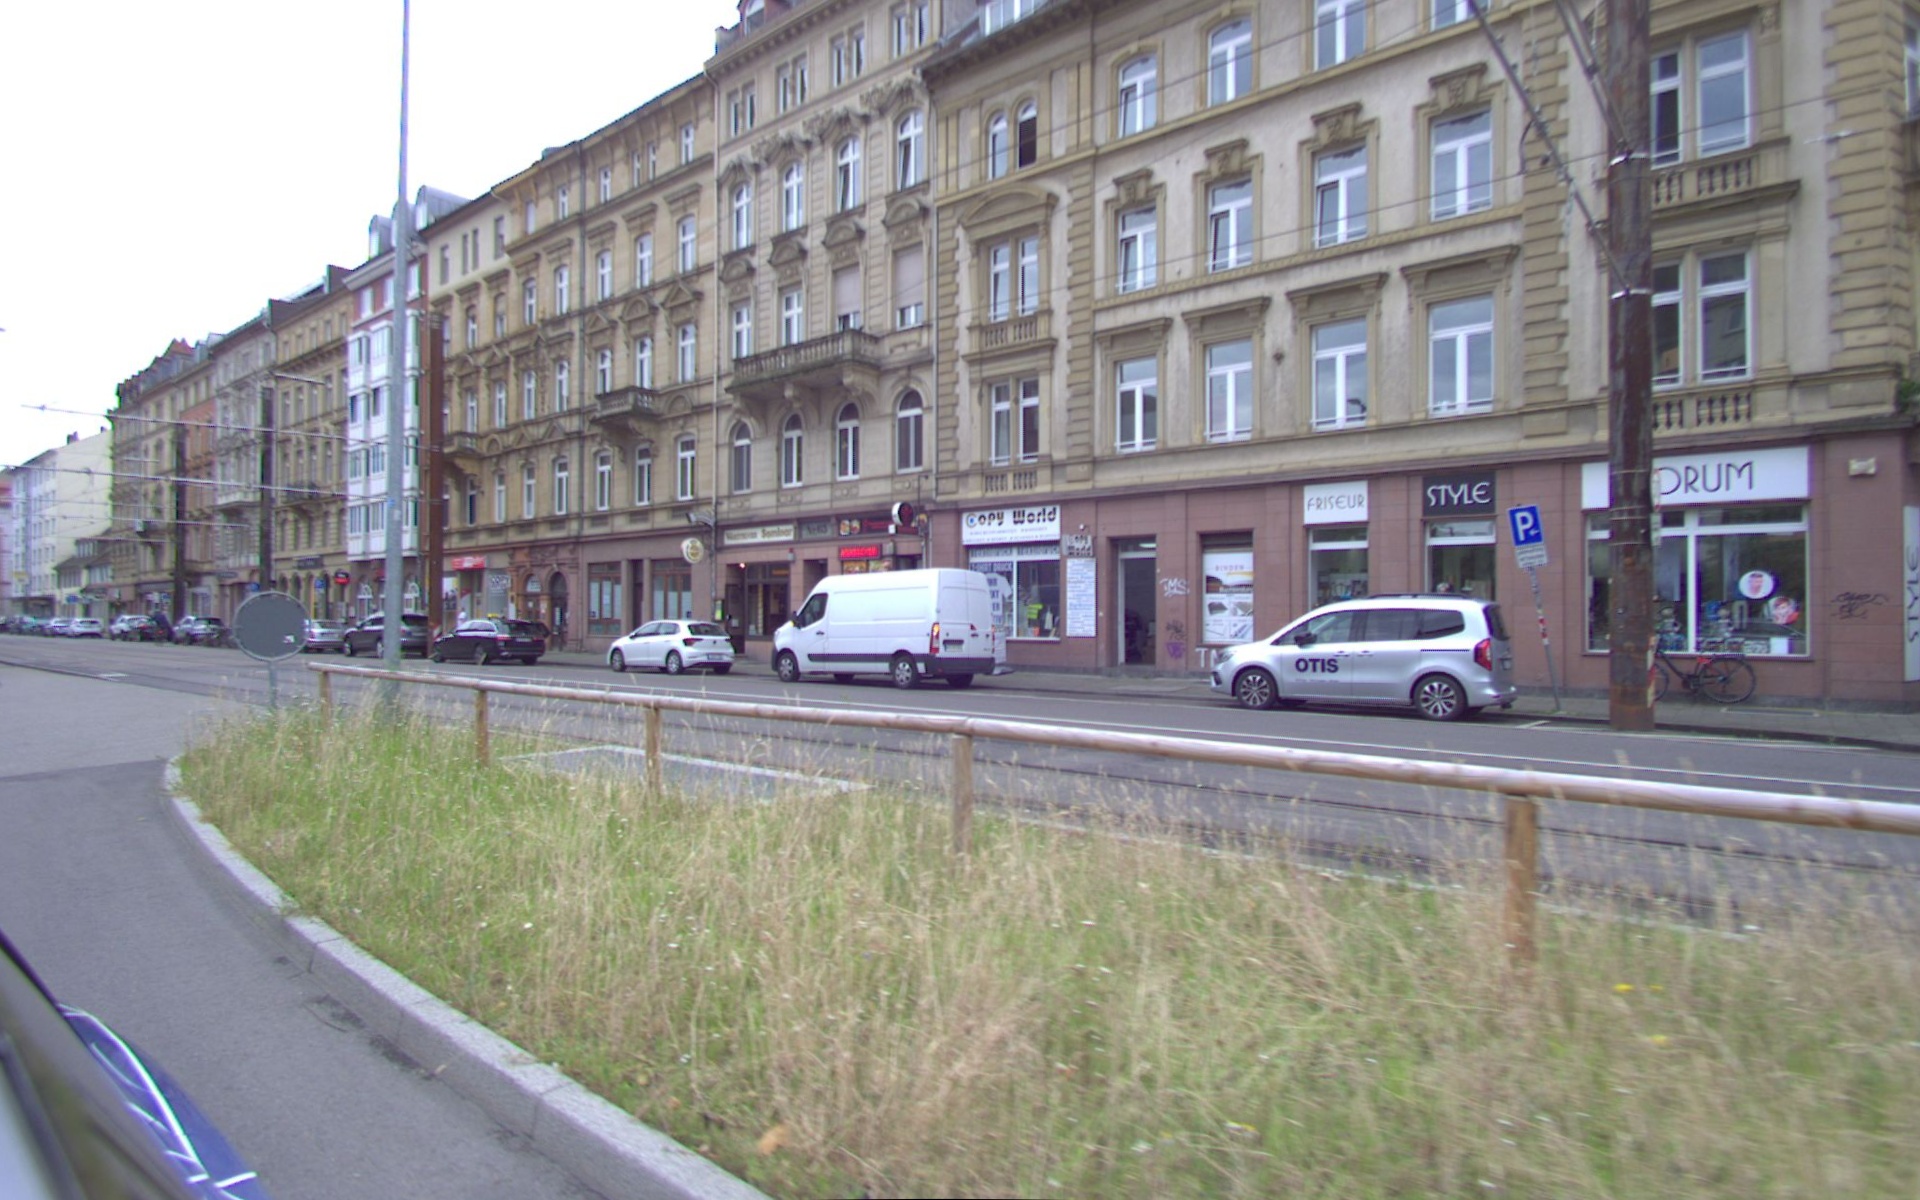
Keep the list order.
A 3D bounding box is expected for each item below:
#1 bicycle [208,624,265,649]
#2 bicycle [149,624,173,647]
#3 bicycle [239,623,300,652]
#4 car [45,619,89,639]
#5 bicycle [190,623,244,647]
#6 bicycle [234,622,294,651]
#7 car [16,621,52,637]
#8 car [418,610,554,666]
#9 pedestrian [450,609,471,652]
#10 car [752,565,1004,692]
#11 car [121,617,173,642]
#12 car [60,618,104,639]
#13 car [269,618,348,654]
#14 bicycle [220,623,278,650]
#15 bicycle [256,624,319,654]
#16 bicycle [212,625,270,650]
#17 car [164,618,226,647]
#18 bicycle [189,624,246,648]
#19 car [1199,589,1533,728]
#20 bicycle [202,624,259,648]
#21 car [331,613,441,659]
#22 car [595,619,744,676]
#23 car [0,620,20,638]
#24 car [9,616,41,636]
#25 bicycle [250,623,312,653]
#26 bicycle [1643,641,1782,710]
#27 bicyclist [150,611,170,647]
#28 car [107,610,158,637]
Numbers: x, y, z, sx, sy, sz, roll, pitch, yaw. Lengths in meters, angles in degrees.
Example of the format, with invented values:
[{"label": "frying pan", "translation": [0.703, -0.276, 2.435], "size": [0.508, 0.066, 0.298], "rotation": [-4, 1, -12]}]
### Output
[{"label": "bicycle", "translation": [-36.925, 1.879, 51.663], "size": [0.666, 1.212, 2.259], "rotation": [-1, -3, 39]}, {"label": "bicycle", "translation": [-42.107, 1.882, 53.306], "size": [2.044, 1.183, 0.579], "rotation": [-1, -3, 41]}, {"label": "bicycle", "translation": [-32.704, 1.776, 47.956], "size": [0.666, 1.339, 2.259], "rotation": [-1, -3, 39]}, {"label": "car", "translation": [-68.490, 2.247, 77.621], "size": [4.541, 1.533, 1.806], "rotation": [-2, -3, 40]}, {"label": "bicycle", "translation": [-39.133, 1.820, 53.318], "size": [0.547, 1.212, 2.259], "rotation": [-1, -1, 39]}, {"label": "bicycle", "translation": [-33.335, 1.769, 48.492], "size": [0.666, 1.339, 2.259], "rotation": [-1, -3, 39]}, {"label": "car", "translation": [-79.724, 2.506, 87.165], "size": [3.429, 1.391, 1.632], "rotation": [-2, -3, 36]}, {"label": "car", "translation": [-15.613, 1.225, 33.222], "size": [5.045, 1.702, 1.901], "rotation": [-1, -4, 38]}, {"label": "pedestrian", "translation": [-21.137, 1.290, 42.855], "size": [0.644, 1.795, 0.787], "rotation": [-1, 0, -14]}, {"label": "car", "translation": [-1.923, 0.638, 22.401], "size": [5.658, 2.506, 2.033], "rotation": [-1, -4, 38]}, {"label": "car", "translation": [-50.094, 1.816, 62.326], "size": [3.917, 1.500, 1.726], "rotation": [-1, -3, 40]}, {"label": "car", "translation": [-64.774, 2.103, 74.626], "size": [4.041, 1.476, 1.726], "rotation": [-1, -3, 39]}, {"label": "car", "translation": [-28.454, 1.552, 44.191], "size": [3.915, 1.500, 1.727], "rotation": [-1, -3, 39]}, {"label": "bicycle", "translation": [-35.404, 1.830, 50.419], "size": [0.666, 1.339, 2.259], "rotation": [-1, -3, 39]}, {"label": "bicycle", "translation": [-30.701, 1.782, 46.252], "size": [0.666, 1.339, 2.259], "rotation": [-1, -3, 39]}, {"label": "bicycle", "translation": [-36.373, 1.891, 51.210], "size": [0.666, 1.212, 2.259], "rotation": [-1, -3, 39]}, {"label": "car", "translation": [-42.236, 1.769, 55.850], "size": [4.220, 1.545, 1.726], "rotation": [-1, -3, 39]}, {"label": "bicycle", "translation": [-38.692, 1.875, 52.774], "size": [0.704, 1.212, 2.259], "rotation": [-1, -3, 39]}, {"label": "car", "translation": [6.232, 0.846, 15.793], "size": [4.514, 1.879, 1.884], "rotation": [-1, -3, 38]}, {"label": "bicycle", "translation": [-37.550, 1.861, 52.123], "size": [0.704, 1.212, 2.259], "rotation": [-1, -3, 39]}, {"label": "car", "translation": [-22.200, 1.377, 39.076], "size": [5.022, 1.703, 1.797], "rotation": [-1, -2, 37]}, {"label": "car", "translation": [-7.932, 1.262, 27.492], "size": [4.159, 1.433, 1.754], "rotation": [-1, -4, 38]}, {"label": "car", "translation": [-91.052, 2.758, 96.438], "size": [4.178, 1.684, 1.683], "rotation": [-1, 0, 41]}, {"label": "car", "translation": [-83.185, 2.302, 90.015], "size": [3.917, 1.770, 1.685], "rotation": [-1, -2, 41]}, {"label": "bicycle", "translation": [-31.286, 1.772, 46.676], "size": [0.520, 1.339, 2.259], "rotation": [-1, -3, 39]}, {"label": "bicycle", "translation": [11.653, 1.152, 15.713], "size": [0.336, 0.966, 1.689], "rotation": [0, 0, -44]}, {"label": "bicyclist", "translation": [-42.085, 1.511, 53.257], "size": [1.028, 1.897, 0.638], "rotation": [-1, 0, 41]}, {"label": "car", "translation": [-53.387, 1.530, 65.241], "size": [4.041, 1.685, 1.726], "rotation": [-1, -3, 39]}]
